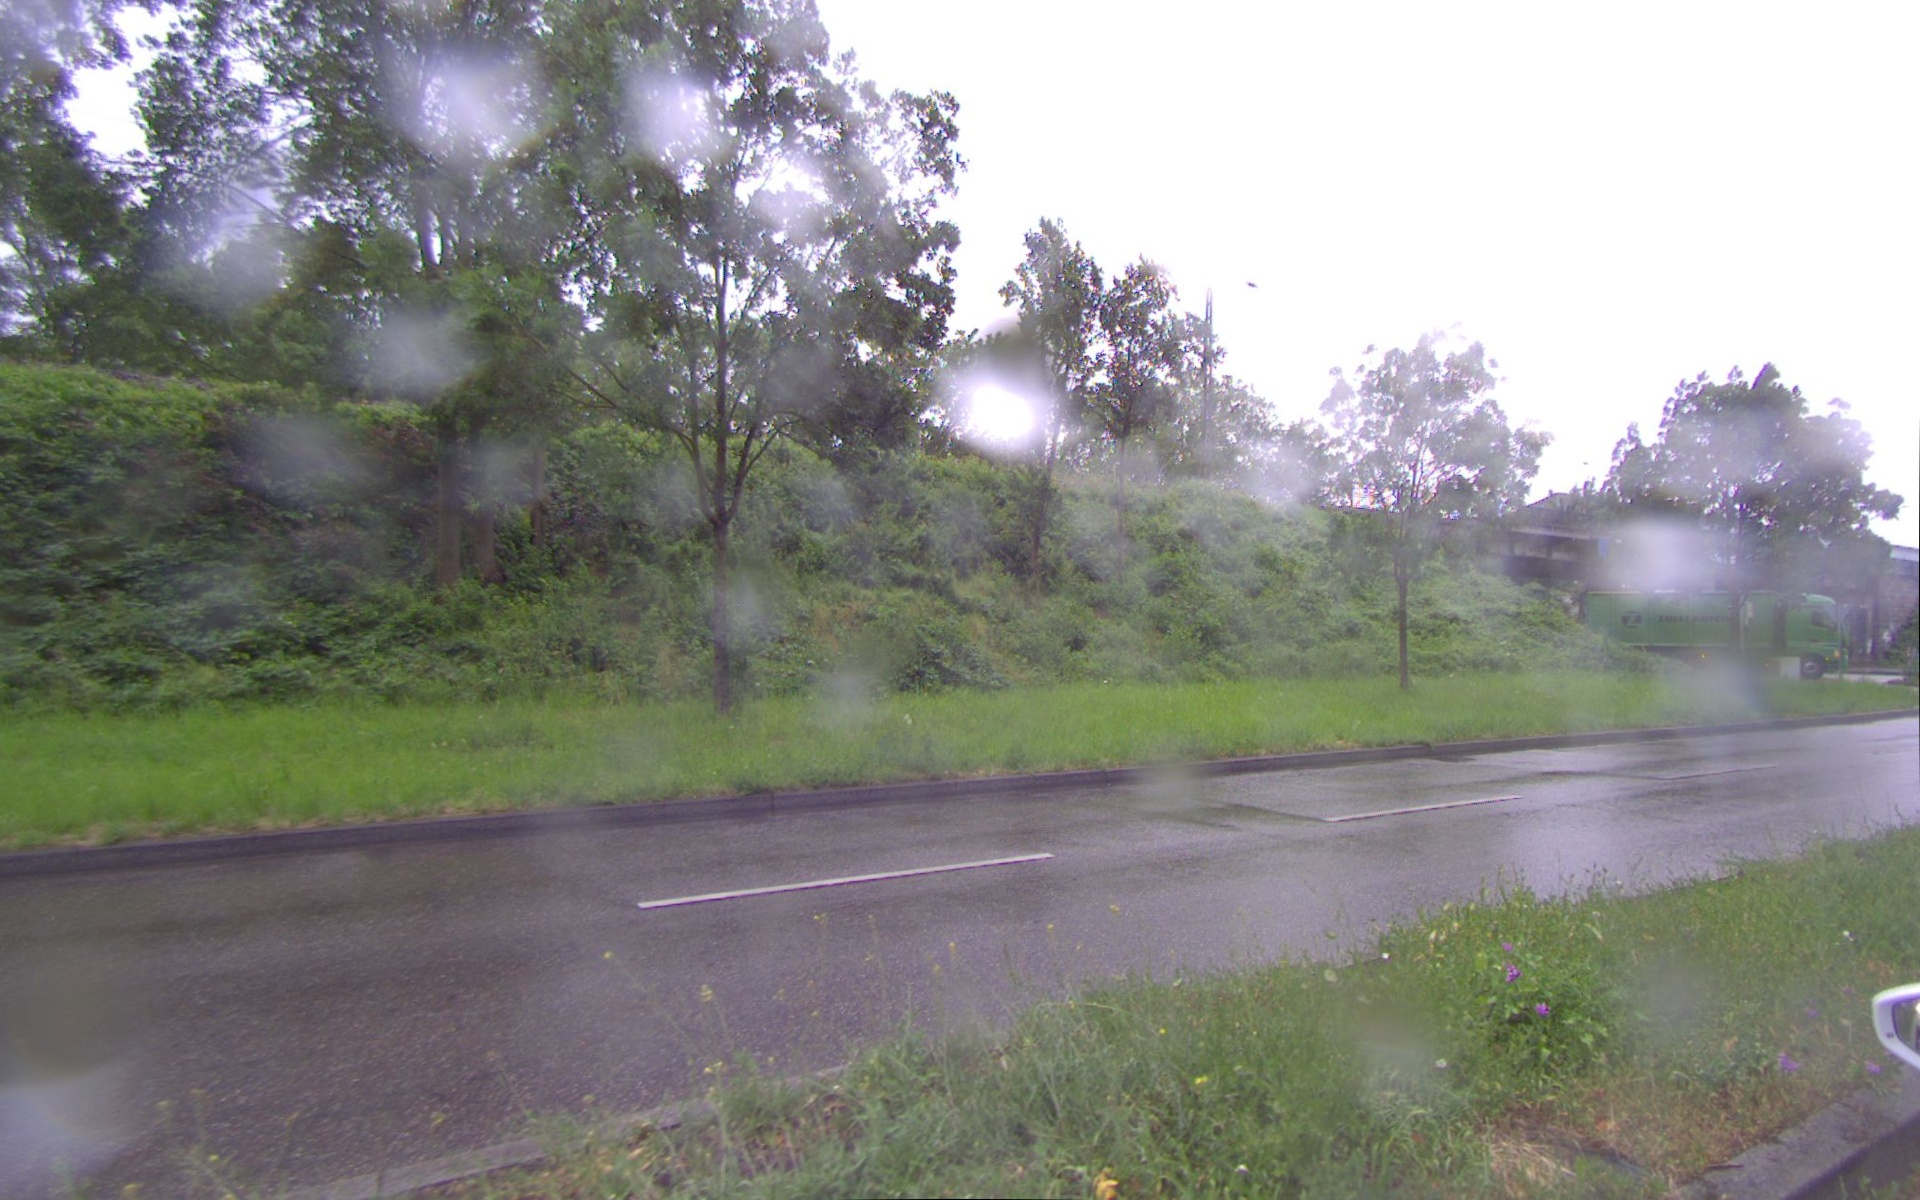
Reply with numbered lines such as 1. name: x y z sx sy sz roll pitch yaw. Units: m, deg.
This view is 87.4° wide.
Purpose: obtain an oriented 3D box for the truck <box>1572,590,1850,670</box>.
1. truck: 33.953 1.285 45.999 9.872 3.416 2.346 0 -1 25
